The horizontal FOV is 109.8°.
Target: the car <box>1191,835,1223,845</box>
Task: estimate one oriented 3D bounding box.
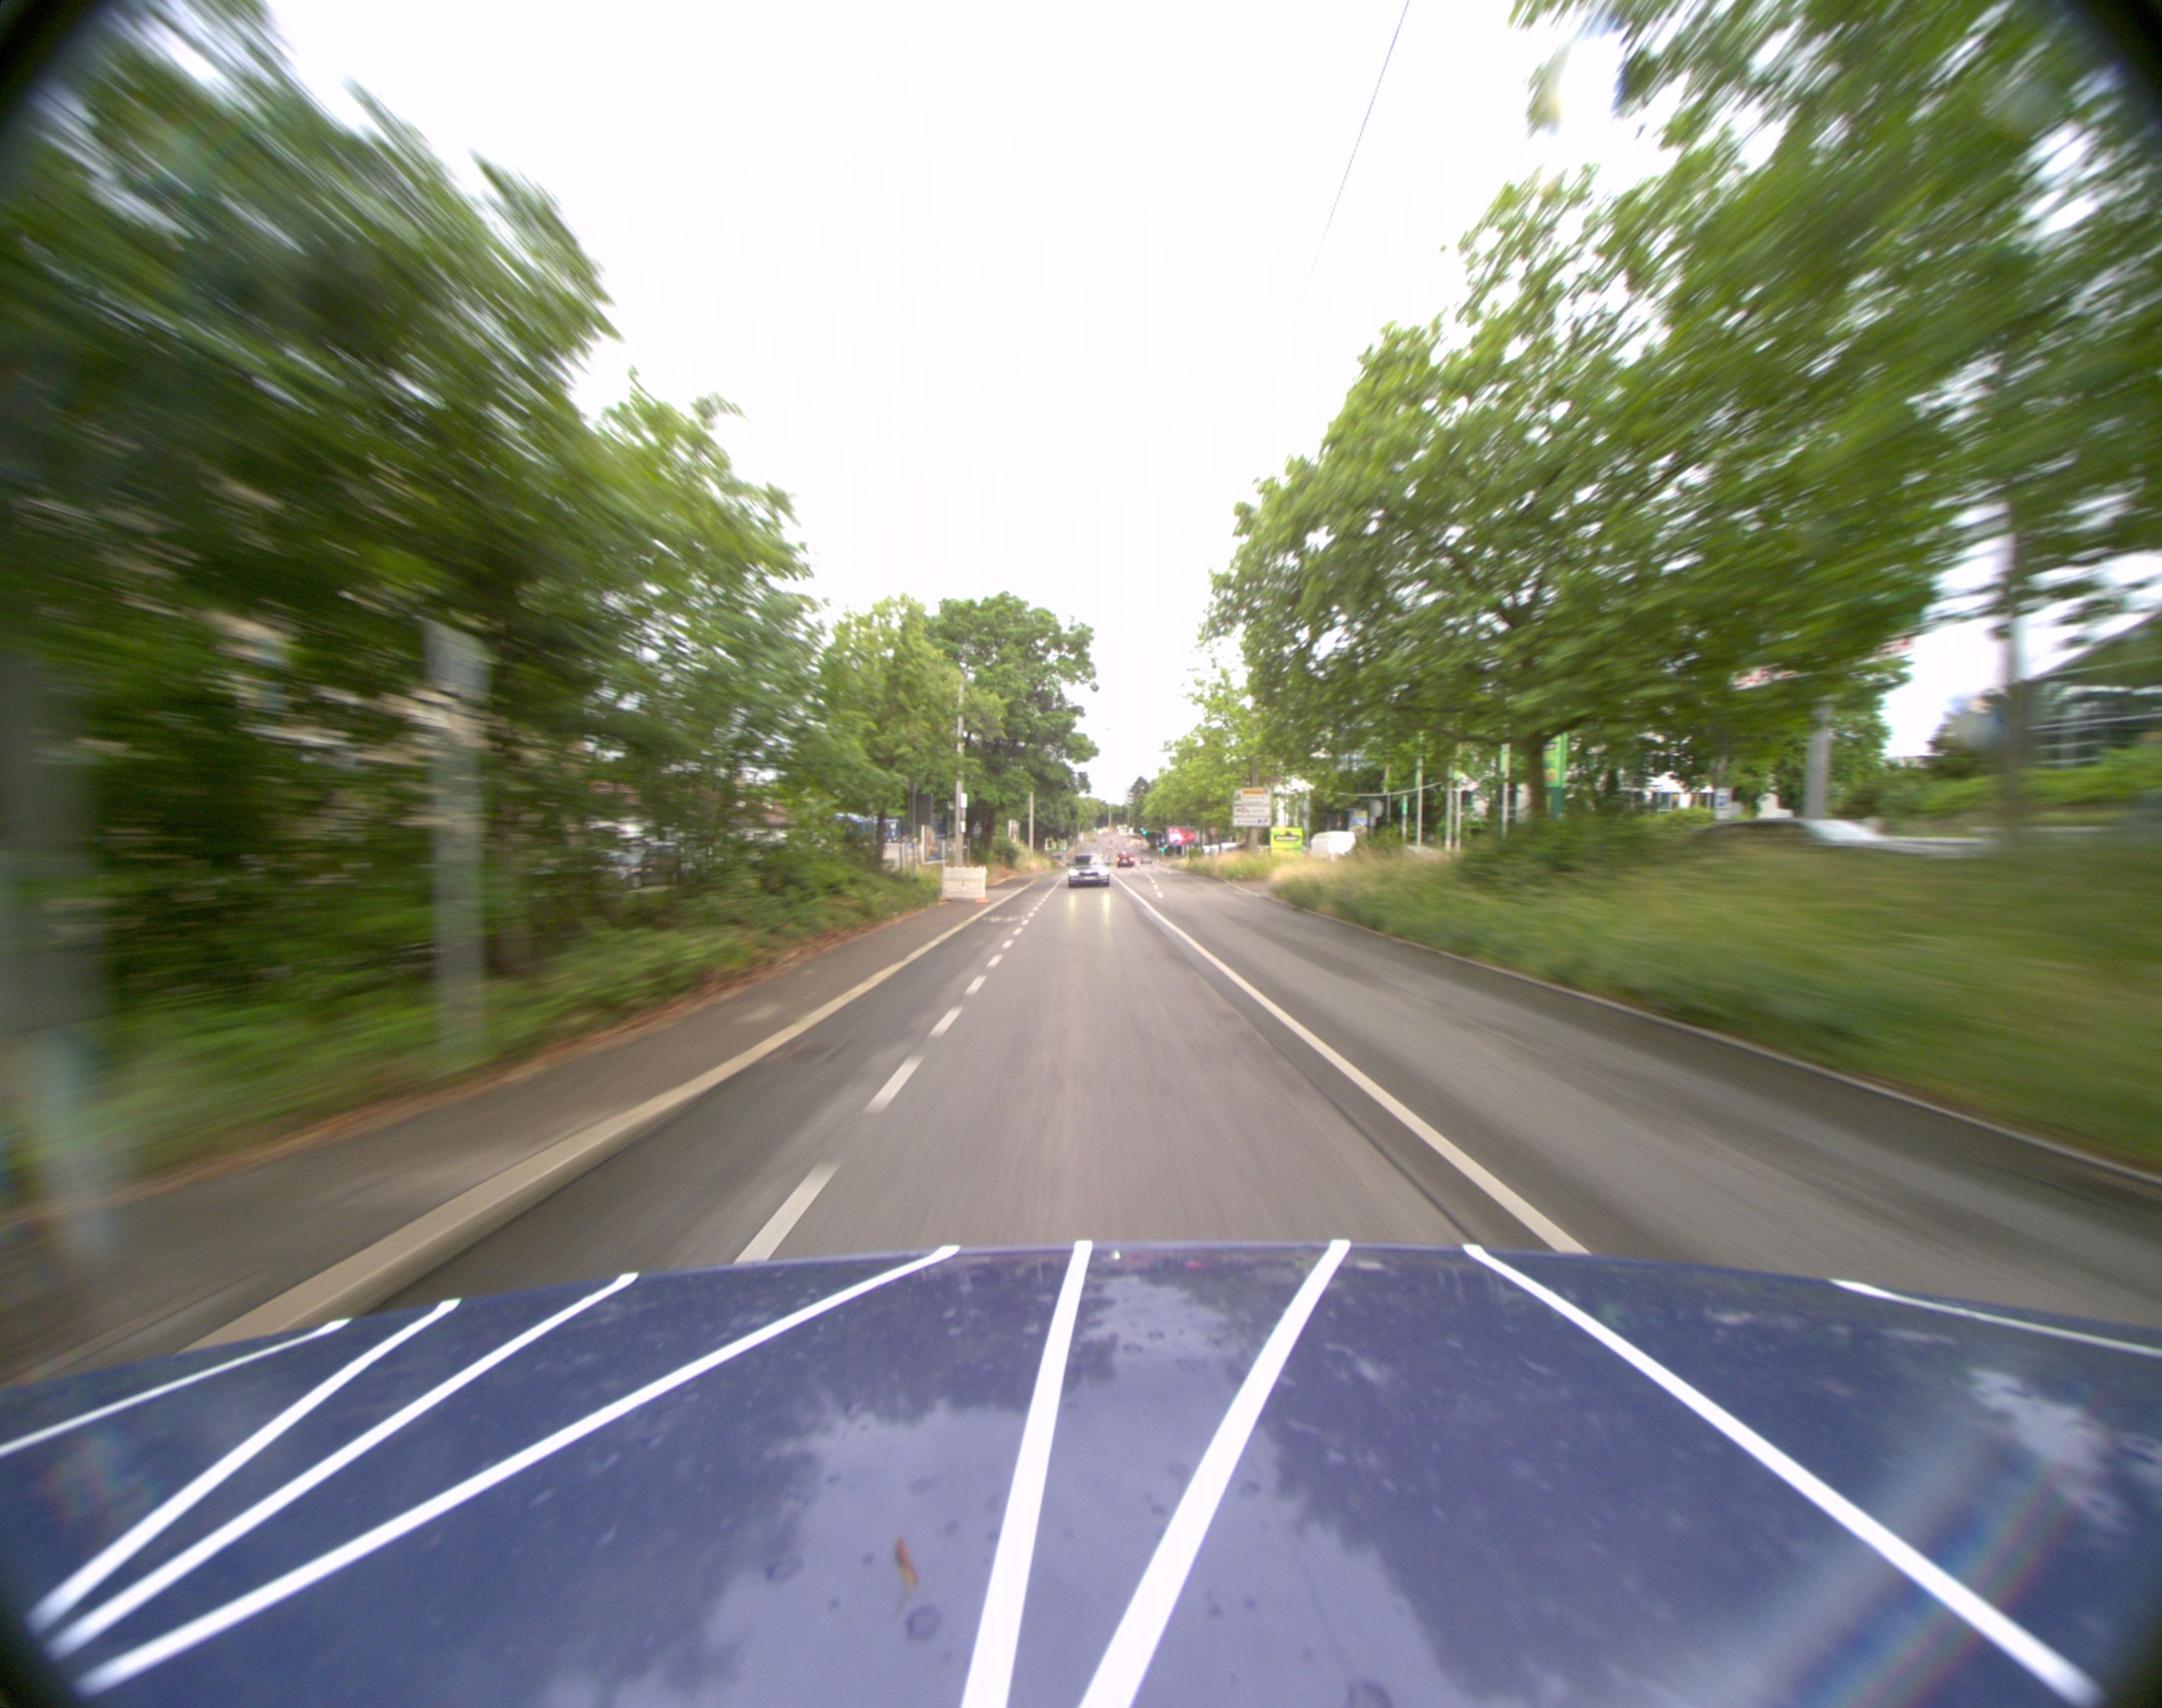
[{"bbox_3d":[23.019,-2.606,139.050,5.371,1.792,2.218,0,3,-6],"label":"car"}]

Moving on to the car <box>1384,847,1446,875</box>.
[{"bbox_3d":[18.252,0.357,41.725,1.405,1.310,4.277,0,2,-1],"label":"car"}]

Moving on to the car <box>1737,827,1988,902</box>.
[{"bbox_3d":[13.099,0.116,12.960,1.354,1.124,2.751,0,2,-2],"label":"car"}]

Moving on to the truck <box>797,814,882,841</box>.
[{"bbox_3d":[-25.266,-2.829,79.773,8.026,2.723,2.585,0,3,-1],"label":"truck"}]

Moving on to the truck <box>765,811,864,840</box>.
[{"bbox_3d":[-24.774,-2.687,70.997,8.319,2.602,2.585,0,3,-1],"label":"truck"}]

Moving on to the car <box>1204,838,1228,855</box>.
[{"bbox_3d":[12.976,-0.682,73.216,1.651,1.469,4.444,1,-1,1],"label":"car"}]

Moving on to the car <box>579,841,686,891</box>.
[{"bbox_3d":[-19.038,0.438,32.538,1.786,1.849,4.651,1,2,0],"label":"car"}]

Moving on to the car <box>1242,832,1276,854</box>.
[{"bbox_3d":[11.624,-0.756,49.832,1.364,1.387,3.706,1,2,0],"label":"car"}]

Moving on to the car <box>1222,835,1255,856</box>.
[{"bbox_3d":[11.411,-0.632,55.189,1.658,1.444,3.644,1,2,0],"label":"car"}]

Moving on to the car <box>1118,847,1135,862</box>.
[{"bbox_3d":[5.859,0.075,97.795,2.019,1.856,5.042,1,0,2],"label":"car"}]

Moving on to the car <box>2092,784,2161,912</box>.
[{"bbox_3d":[12.749,-0.013,7.176,1.707,1.396,3.443,0,2,-2],"label":"car"}]

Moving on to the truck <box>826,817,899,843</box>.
[{"bbox_3d":[-25.212,-2.792,87.994,7.757,2.800,2.585,0,3,-1],"label":"truck"}]

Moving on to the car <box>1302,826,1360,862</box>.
[{"bbox_3d":[17.654,-0.642,53.930,1.968,2.429,5.654,1,-1,-3],"label":"car"}]

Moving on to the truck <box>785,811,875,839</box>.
[{"bbox_3d":[-24.980,-2.893,75.960,8.112,2.640,2.585,0,3,-1],"label":"truck"}]

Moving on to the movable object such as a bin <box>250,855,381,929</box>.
[{"bbox_3d":[-15.489,0.740,15.428,1.274,1.408,1.357,1,1,2],"label":"movable object such as a bin"}]

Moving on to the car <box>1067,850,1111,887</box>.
[{"bbox_3d":[0.382,0.614,34.080,1.811,1.509,4.052,-2,0,1],"label":"car"}]

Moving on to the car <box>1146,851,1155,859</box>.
[{"bbox_3d":[11.760,0.175,129.085,1.380,1.216,2.452,1,2,1],"label":"car"}]

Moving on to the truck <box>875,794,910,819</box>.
[{"bbox_3d":[-26.193,-6.545,106.064,2.256,3.178,9.638,-1,2,1],"label":"truck"}]

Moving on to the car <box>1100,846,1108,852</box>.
[{"bbox_3d":[5.206,-1.150,172.436,1.752,1.362,3.754,-3,2,-1],"label":"car"}]

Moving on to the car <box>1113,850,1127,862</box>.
[{"bbox_3d":[5.737,0.258,111.999,1.959,1.687,4.626,1,1,3],"label":"car"}]
